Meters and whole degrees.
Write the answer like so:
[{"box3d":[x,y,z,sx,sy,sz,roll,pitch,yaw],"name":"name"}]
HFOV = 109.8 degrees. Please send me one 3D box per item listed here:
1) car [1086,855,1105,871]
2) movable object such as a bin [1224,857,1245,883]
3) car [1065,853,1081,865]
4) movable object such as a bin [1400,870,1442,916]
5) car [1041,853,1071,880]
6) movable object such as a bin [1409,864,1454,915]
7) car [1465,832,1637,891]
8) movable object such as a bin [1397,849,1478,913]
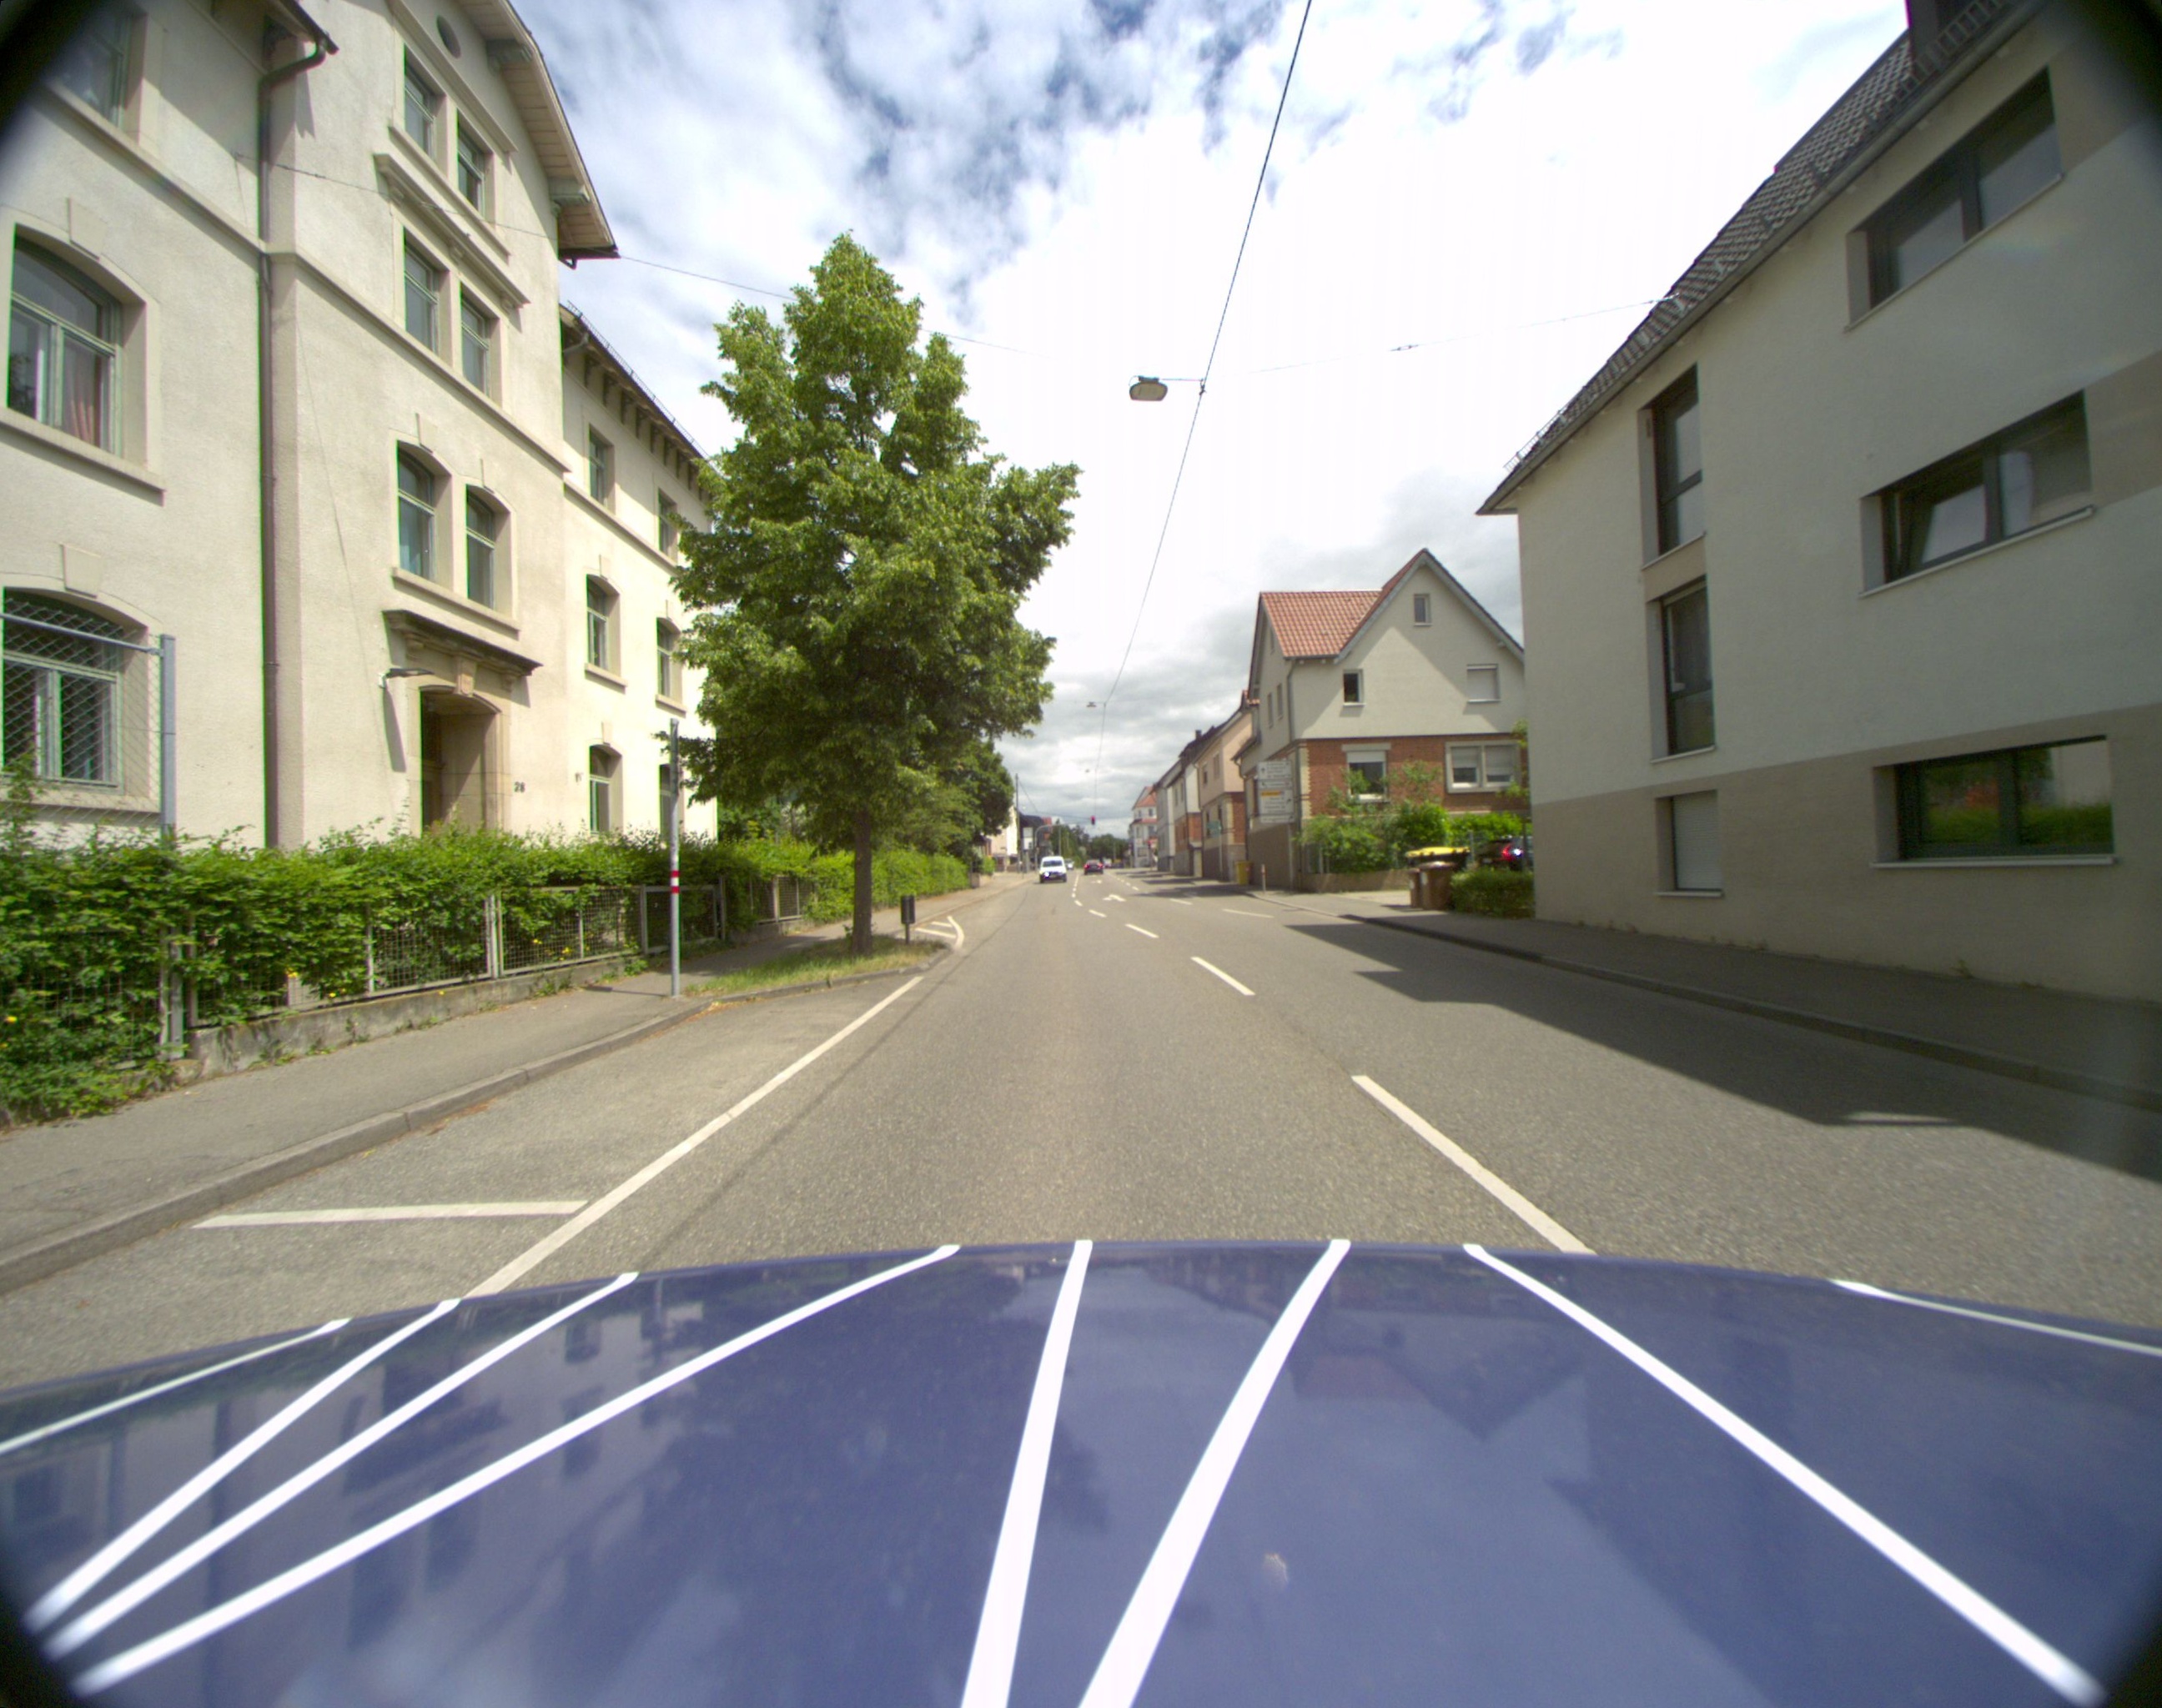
[{"box3d":[1.392,0.895,75.358,1.795,1.477,4.001,-3,-1,0],"name":"car"},{"box3d":[6.951,0.725,34.473,0.766,1.155,0.802,-2,1,1],"name":"movable object such as a bin"},{"box3d":[-1.012,0.663,97.512,1.795,1.477,4.001,-3,-1,0],"name":"car"},{"box3d":[7.806,0.887,17.483,0.642,0.994,0.657,-2,0,-1],"name":"movable object such as a bin"},{"box3d":[-1.717,0.860,53.145,1.893,1.718,4.293,-2,0,-1],"name":"car"},{"box3d":[7.720,0.764,16.734,0.642,1.069,0.660,-2,0,-3],"name":"movable object such as a bin"},{"box3d":[14.253,0.213,23.232,3.997,1.565,2.000,-2,0,-2],"name":"car"},{"box3d":[8.530,0.622,18.231,1.338,1.437,1.170,-2,0,-4],"name":"movable object such as a bin"}]
